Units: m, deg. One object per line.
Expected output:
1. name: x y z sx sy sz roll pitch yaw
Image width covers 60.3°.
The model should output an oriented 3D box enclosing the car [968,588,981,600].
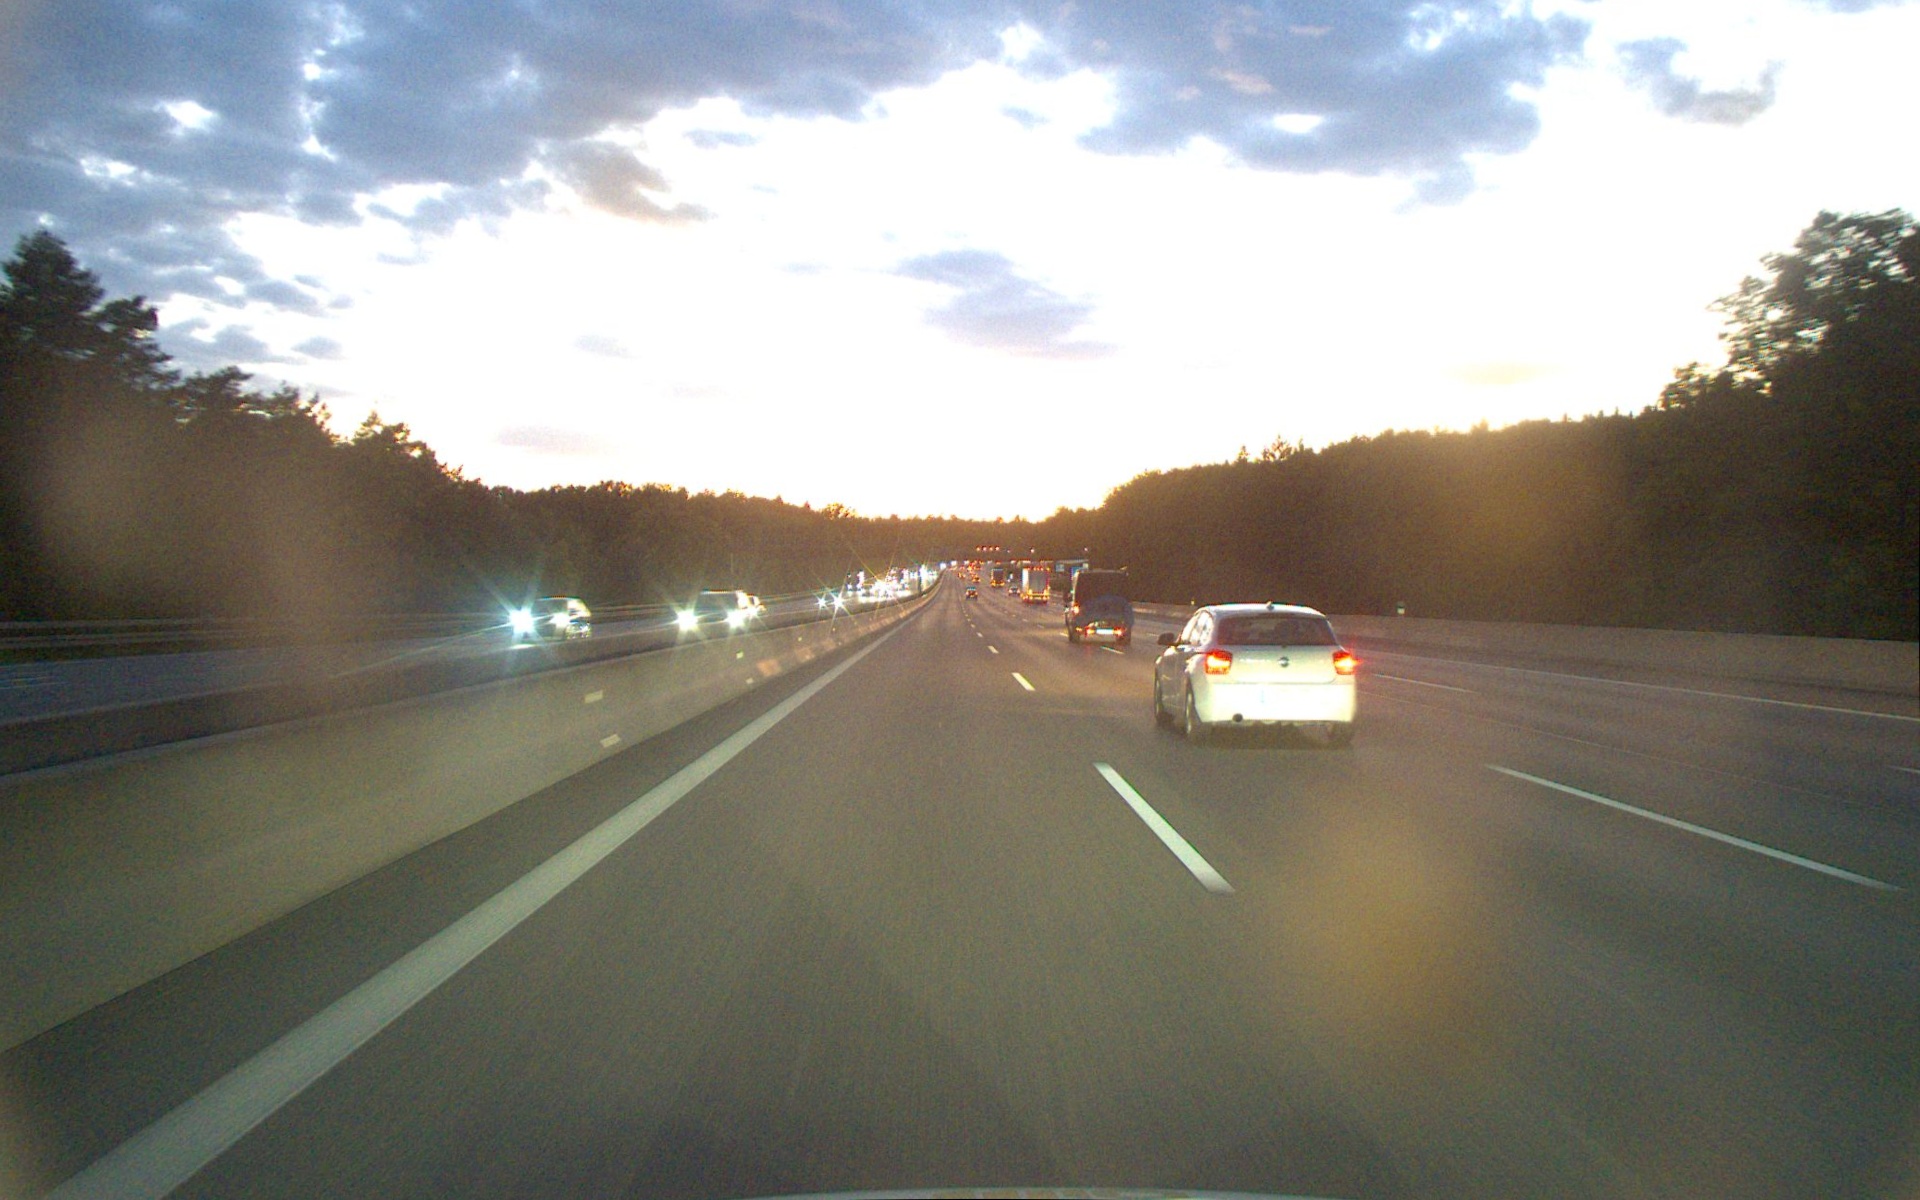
1. car: 2.027 -0.829 232.011 1.798 1.598 4.001 0 0 2

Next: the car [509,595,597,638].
1. car: -14.359 0.563 58.576 1.873 1.449 4.747 0 0 1

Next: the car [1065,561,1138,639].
1. car: 4.680 -0.020 55.468 2.121 2.461 5.565 0 0 2

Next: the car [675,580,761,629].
1. car: -7.574 0.128 52.199 1.953 1.449 5.145 0 0 0

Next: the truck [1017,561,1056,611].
1. truck: 9.328 -1.713 203.715 4.064 5.958 14.296 0 0 0

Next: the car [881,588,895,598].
1. car: -10.889 -1.068 249.988 1.798 1.463 4.001 0 0 2

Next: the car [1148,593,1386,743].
1. car: 3.261 0.670 18.249 1.822 1.467 3.719 1 0 -2

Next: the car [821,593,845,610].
1. car: -11.099 0.115 144.857 1.799 1.463 4.000 0 0 0
